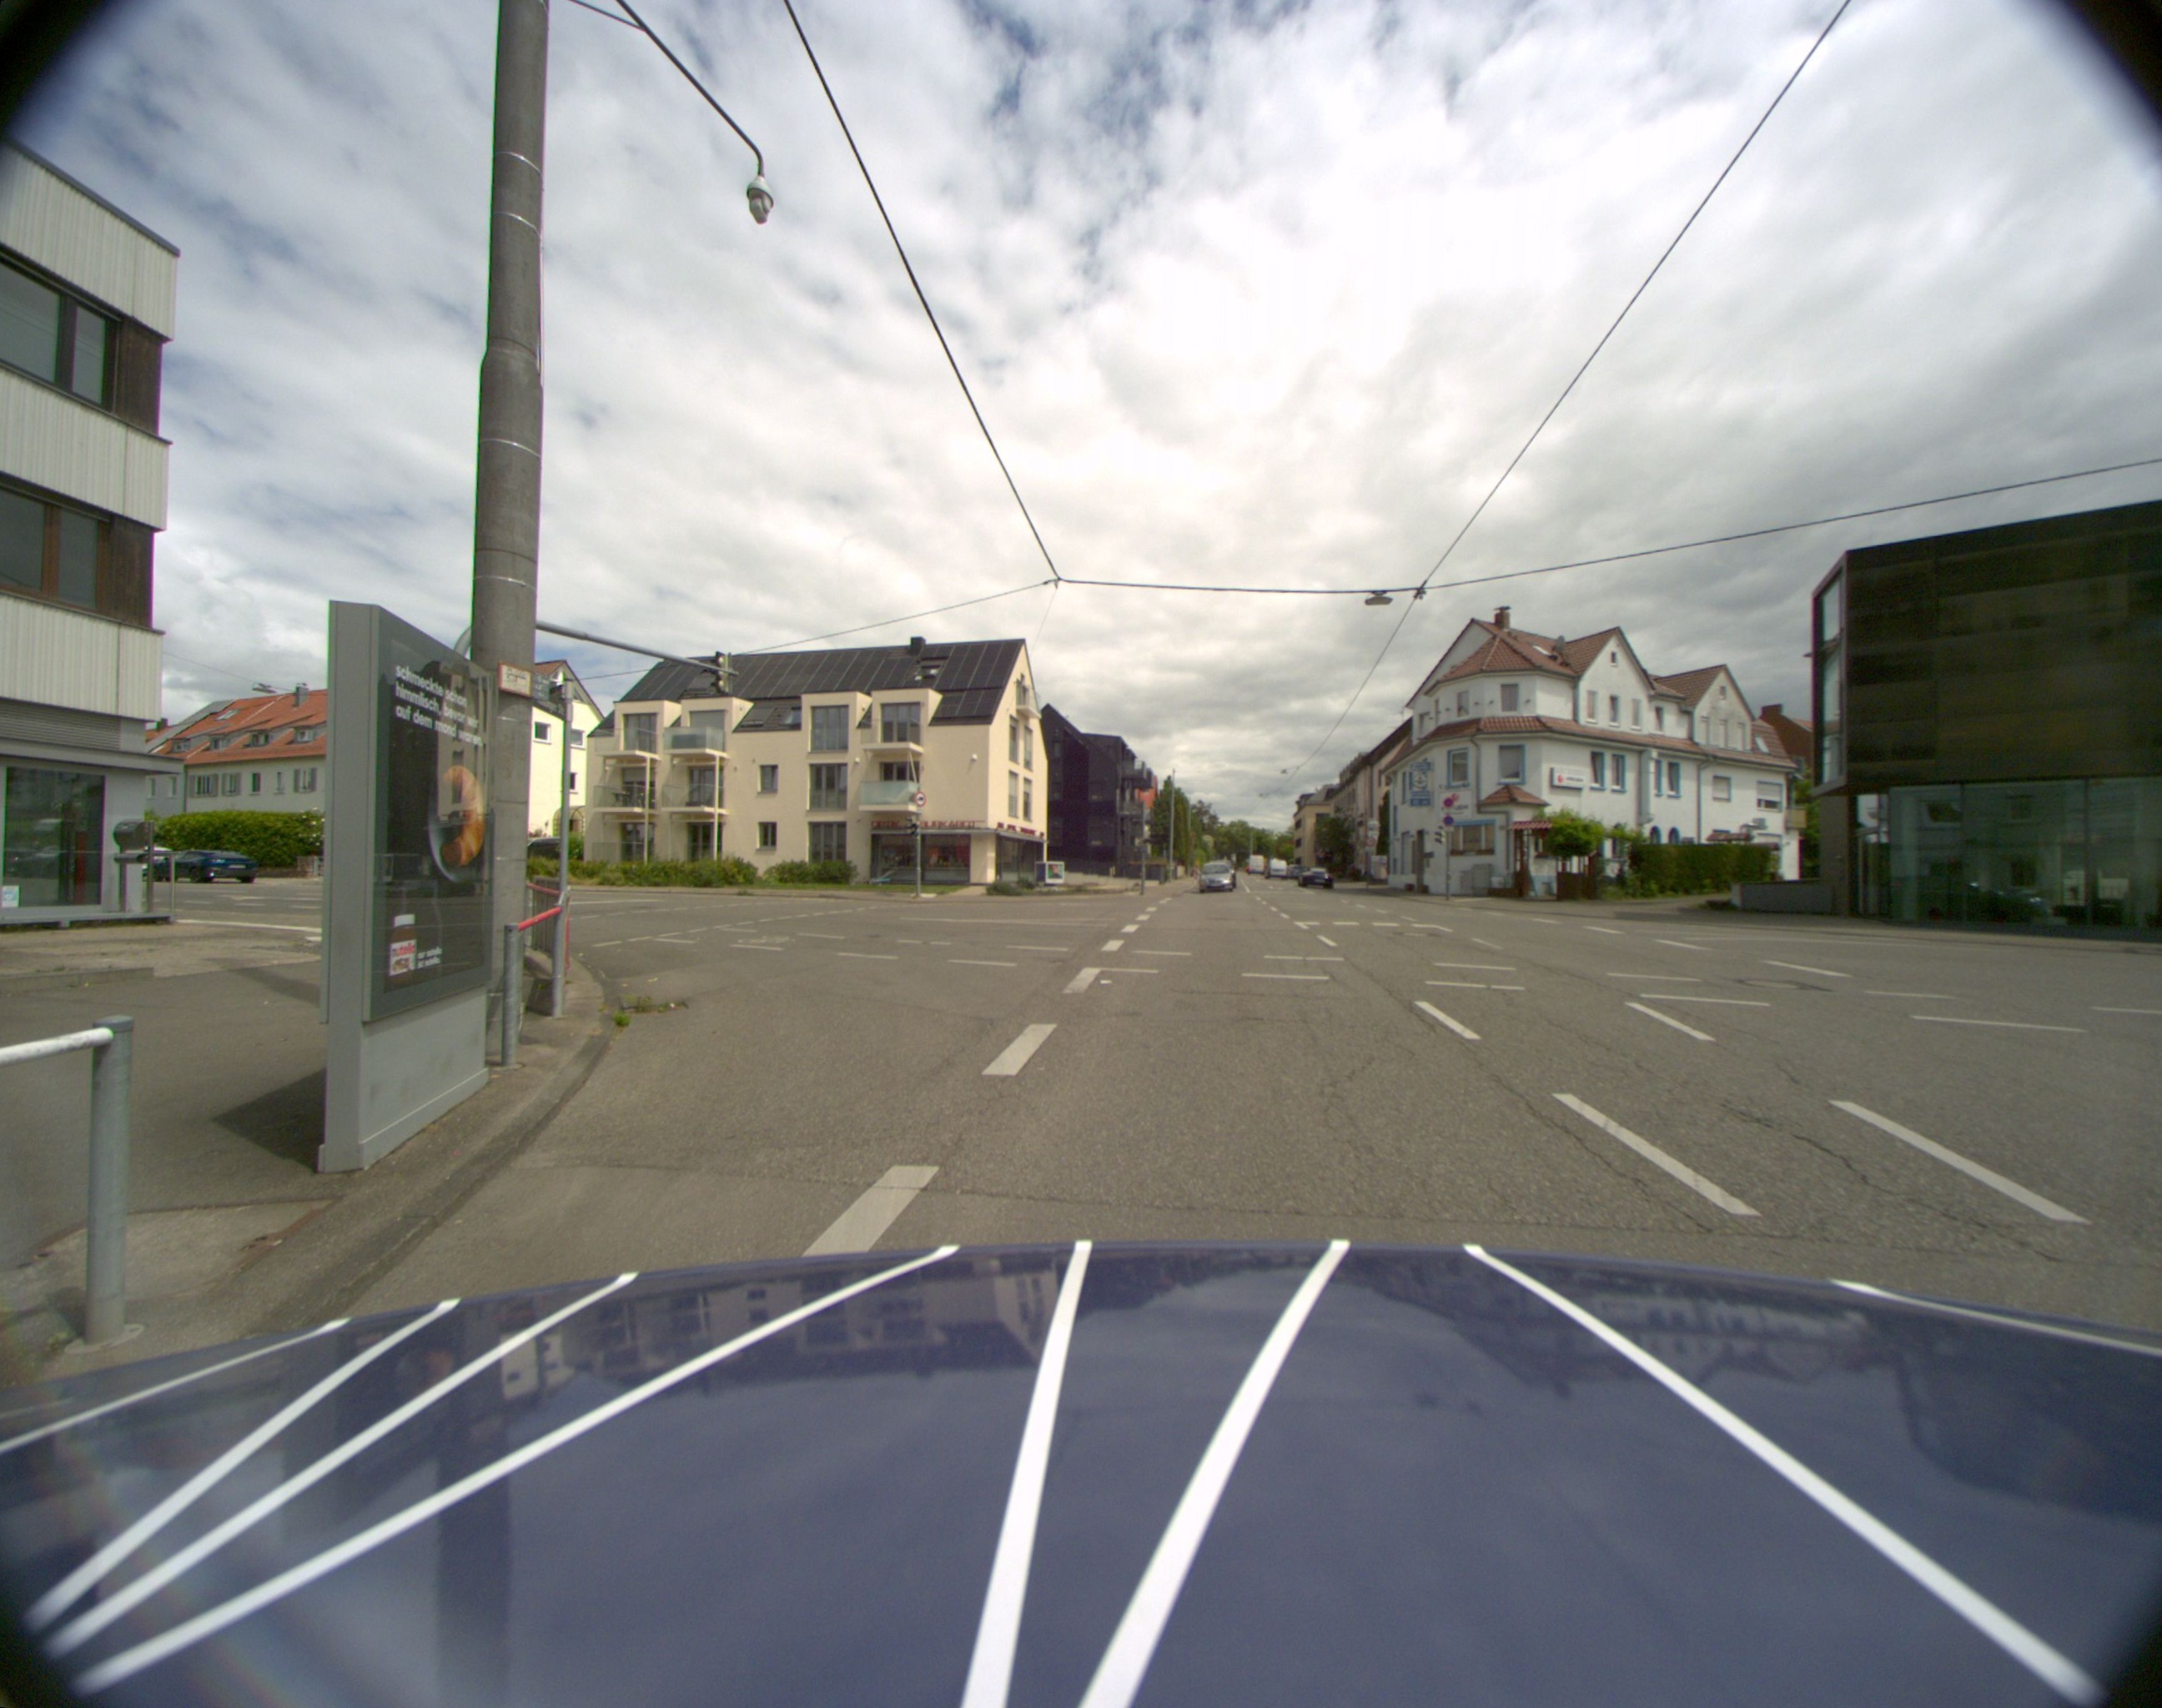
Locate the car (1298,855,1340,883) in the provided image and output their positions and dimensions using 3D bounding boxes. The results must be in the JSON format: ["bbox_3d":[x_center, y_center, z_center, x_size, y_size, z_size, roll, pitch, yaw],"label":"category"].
[{"bbox_3d":[14.537,0.859,46.512,1.996,1.521,4.004,4,1,12],"label":"car"}]

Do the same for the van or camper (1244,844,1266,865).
[{"bbox_3d":[23.036,0.142,100.653,2.111,2.571,5.648,3,0,6],"label":"van or camper"}]

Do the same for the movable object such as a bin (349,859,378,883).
[{"bbox_3d":[-33.043,0.785,35.004,0.690,1.059,0.765,1,0,24],"label":"movable object such as a bin"}]

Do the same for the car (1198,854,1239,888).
[{"bbox_3d":[7.172,0.832,39.530,1.997,1.674,4.003,1,0,11],"label":"car"}]

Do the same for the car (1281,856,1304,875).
[{"bbox_3d":[23.322,1.287,84.063,1.997,2.002,4.003,1,0,9],"label":"car"}]

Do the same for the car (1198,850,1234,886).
[{"bbox_3d":[8.066,0.798,45.290,1.997,2.002,4.003,0,0,11],"label":"car"}]

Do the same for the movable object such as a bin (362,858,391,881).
[{"bbox_3d":[-32.303,0.701,34.846,0.690,1.059,0.765,1,0,24],"label":"movable object such as a bin"}]

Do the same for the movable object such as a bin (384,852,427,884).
[{"bbox_3d":[-31.184,0.650,35.084,0.978,1.438,1.094,1,0,17],"label":"movable object such as a bin"}]

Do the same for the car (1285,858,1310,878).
[{"bbox_3d":[22.492,1.429,78.931,1.997,2.002,4.003,1,0,9],"label":"car"}]

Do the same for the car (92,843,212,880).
[{"bbox_3d":[-43.373,0.325,35.495,4.444,1.623,2.003,1,0,17],"label":"car"}]

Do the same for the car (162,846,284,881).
[{"bbox_3d":[-38.772,0.416,34.356,4.444,1.492,1.822,1,0,14],"label":"car"}]

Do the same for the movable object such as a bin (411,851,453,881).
[{"bbox_3d":[-29.574,0.534,34.639,0.978,1.354,1.094,1,0,17],"label":"movable object such as a bin"}]

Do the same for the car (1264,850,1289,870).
[{"bbox_3d":[18.626,0.567,72.418,1.819,1.801,4.422,2,-1,9],"label":"car"}]

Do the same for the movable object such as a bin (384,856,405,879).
[{"bbox_3d":[-32.035,0.633,35.471,0.524,1.059,0.655,1,0,-22],"label":"movable object such as a bin"}]
